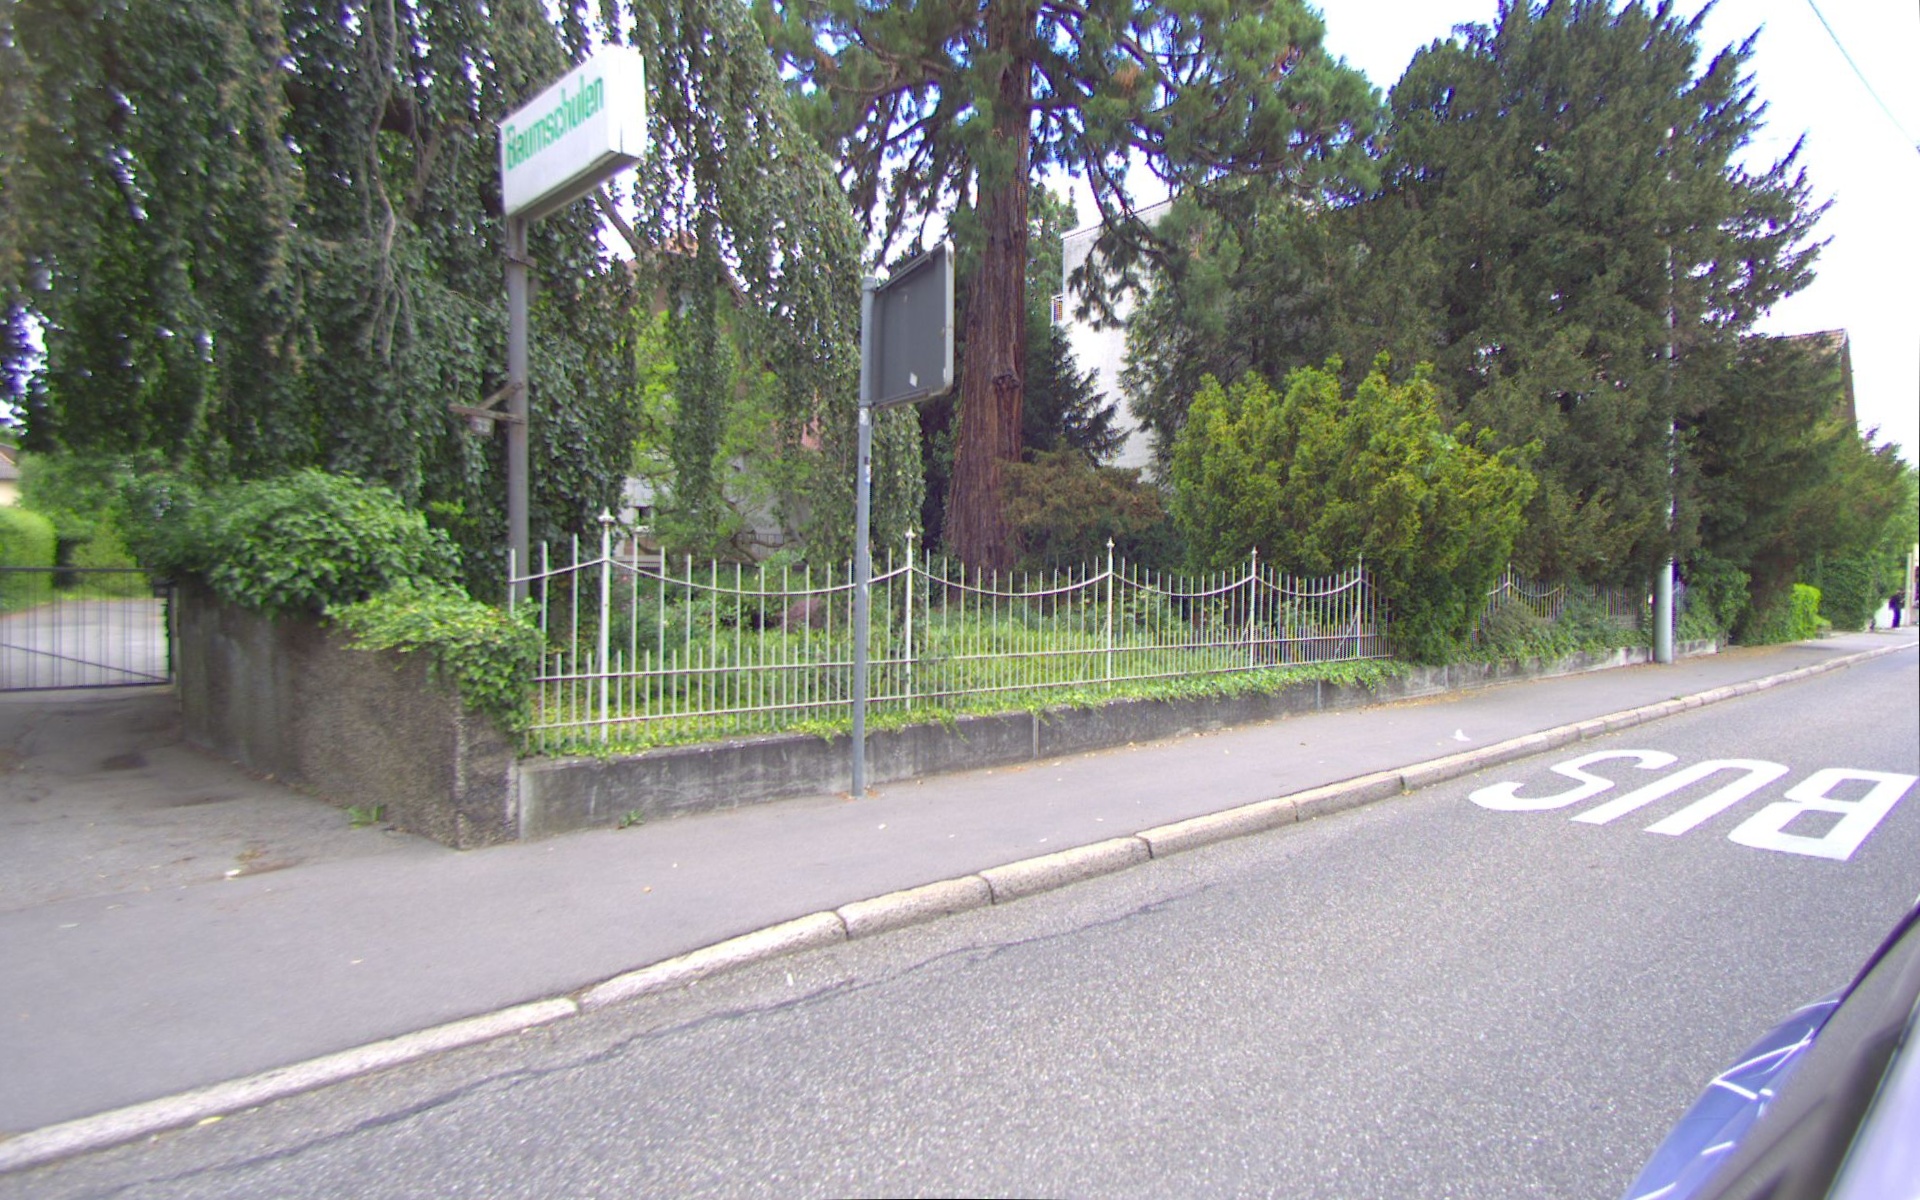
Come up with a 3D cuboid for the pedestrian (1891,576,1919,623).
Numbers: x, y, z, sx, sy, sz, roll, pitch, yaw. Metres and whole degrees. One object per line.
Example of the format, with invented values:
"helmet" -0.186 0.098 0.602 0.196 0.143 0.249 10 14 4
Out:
"pedestrian" 36.969 -0.024 39.598 0.657 1.789 0.491 -1 0 -9
